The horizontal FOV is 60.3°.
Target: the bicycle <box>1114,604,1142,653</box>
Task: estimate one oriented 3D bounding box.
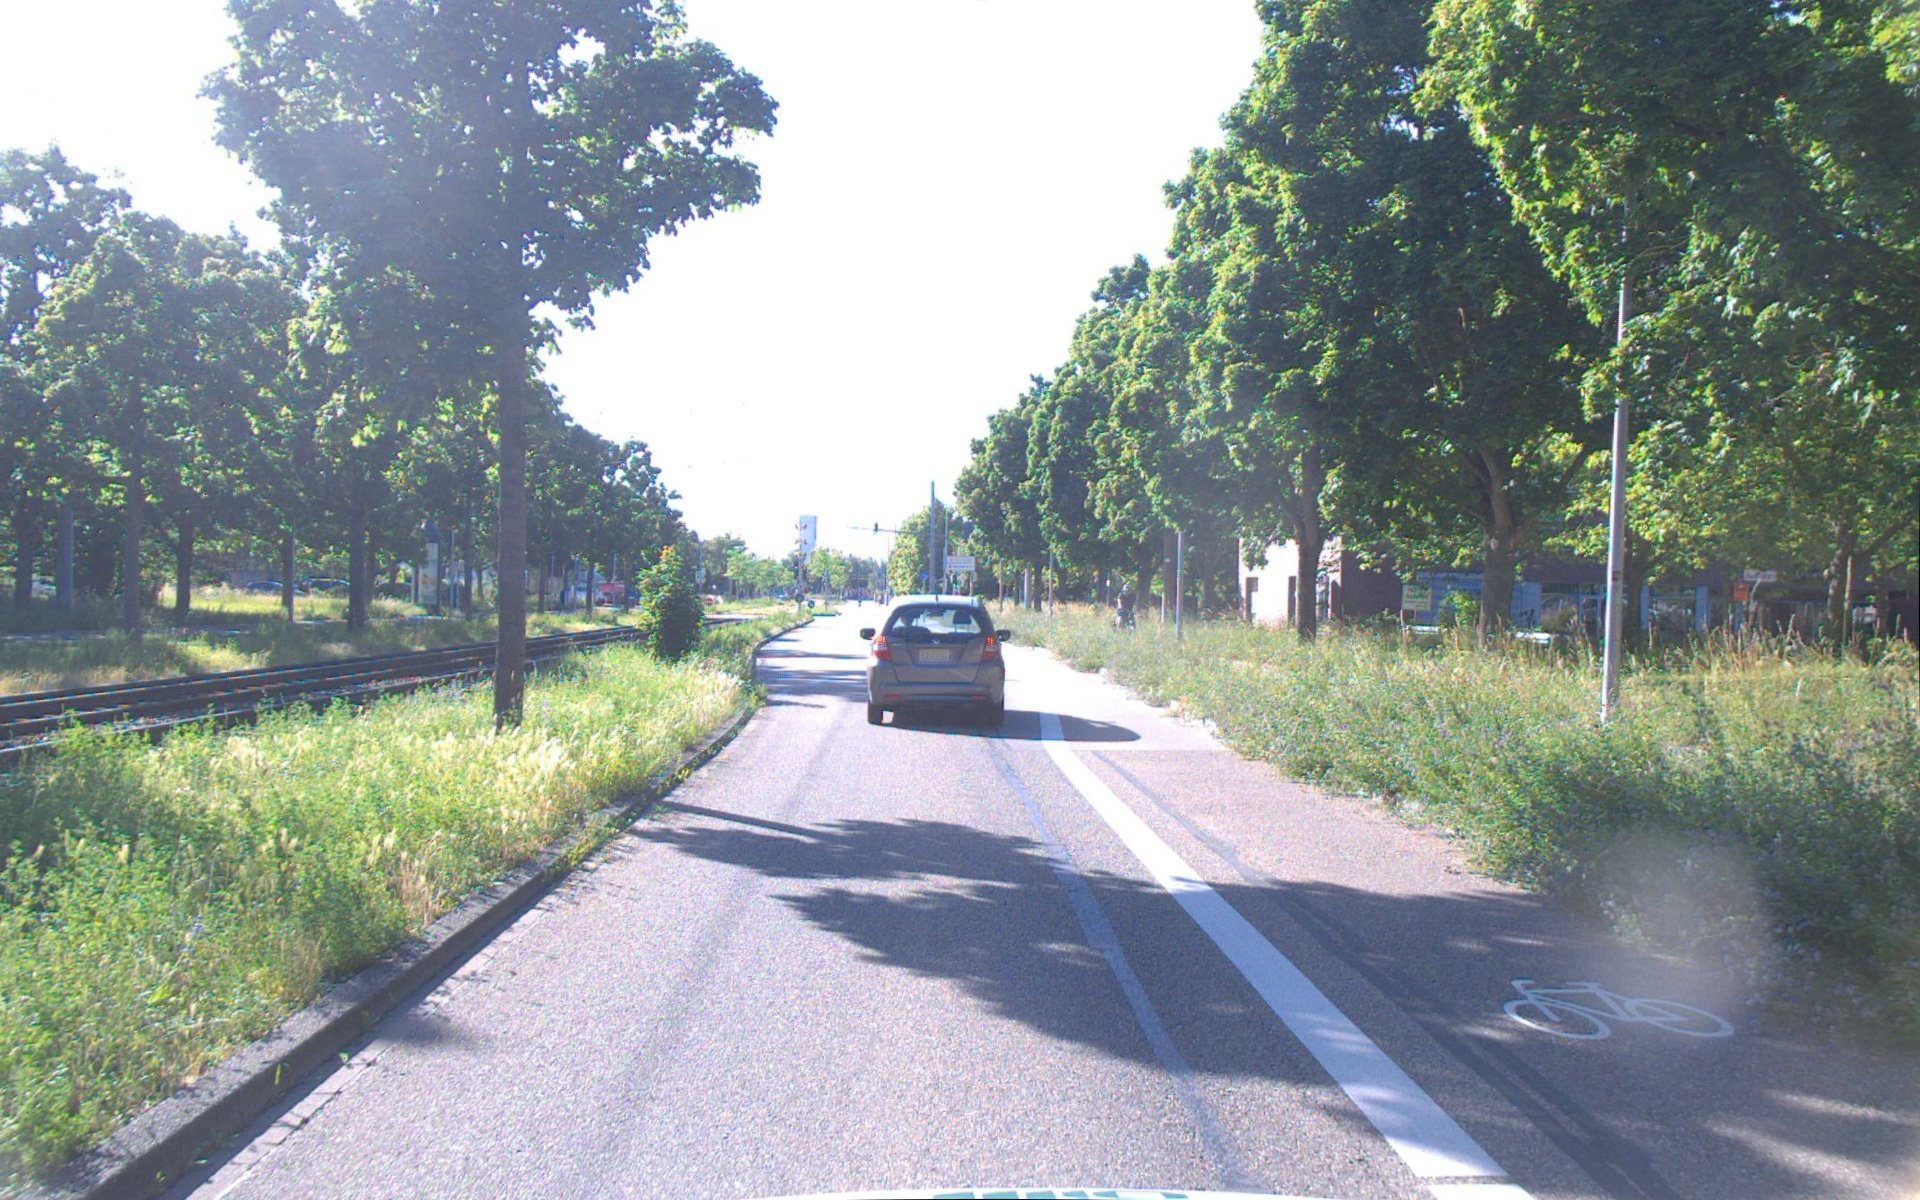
[{"bbox_3d":[4.361,0.750,43.054,0.473,1.225,2.143,1,-2,-1],"label":"bicycle"}]

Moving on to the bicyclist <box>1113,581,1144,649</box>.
[{"bbox_3d":[4.383,0.394,43.096,0.669,1.750,0.902,1,-1,-2],"label":"bicyclist"}]

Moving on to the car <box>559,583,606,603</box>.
[{"bbox_3d":[-39.073,-0.730,171.367,1.823,2.008,4.768,1,0,36],"label":"car"}]

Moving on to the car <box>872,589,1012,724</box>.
[{"bbox_3d":[-0.257,0.647,20.783,1.591,1.526,3.455,1,0,-2],"label":"car"}]

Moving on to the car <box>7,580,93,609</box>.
[{"bbox_3d":[-54.595,-0.322,99.279,4.377,1.668,1.967,1,0,-34],"label":"car"}]

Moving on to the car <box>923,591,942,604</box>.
[{"bbox_3d":[-3.058,-0.253,183.634,1.740,1.411,3.863,0,0,-8],"label":"car"}]
